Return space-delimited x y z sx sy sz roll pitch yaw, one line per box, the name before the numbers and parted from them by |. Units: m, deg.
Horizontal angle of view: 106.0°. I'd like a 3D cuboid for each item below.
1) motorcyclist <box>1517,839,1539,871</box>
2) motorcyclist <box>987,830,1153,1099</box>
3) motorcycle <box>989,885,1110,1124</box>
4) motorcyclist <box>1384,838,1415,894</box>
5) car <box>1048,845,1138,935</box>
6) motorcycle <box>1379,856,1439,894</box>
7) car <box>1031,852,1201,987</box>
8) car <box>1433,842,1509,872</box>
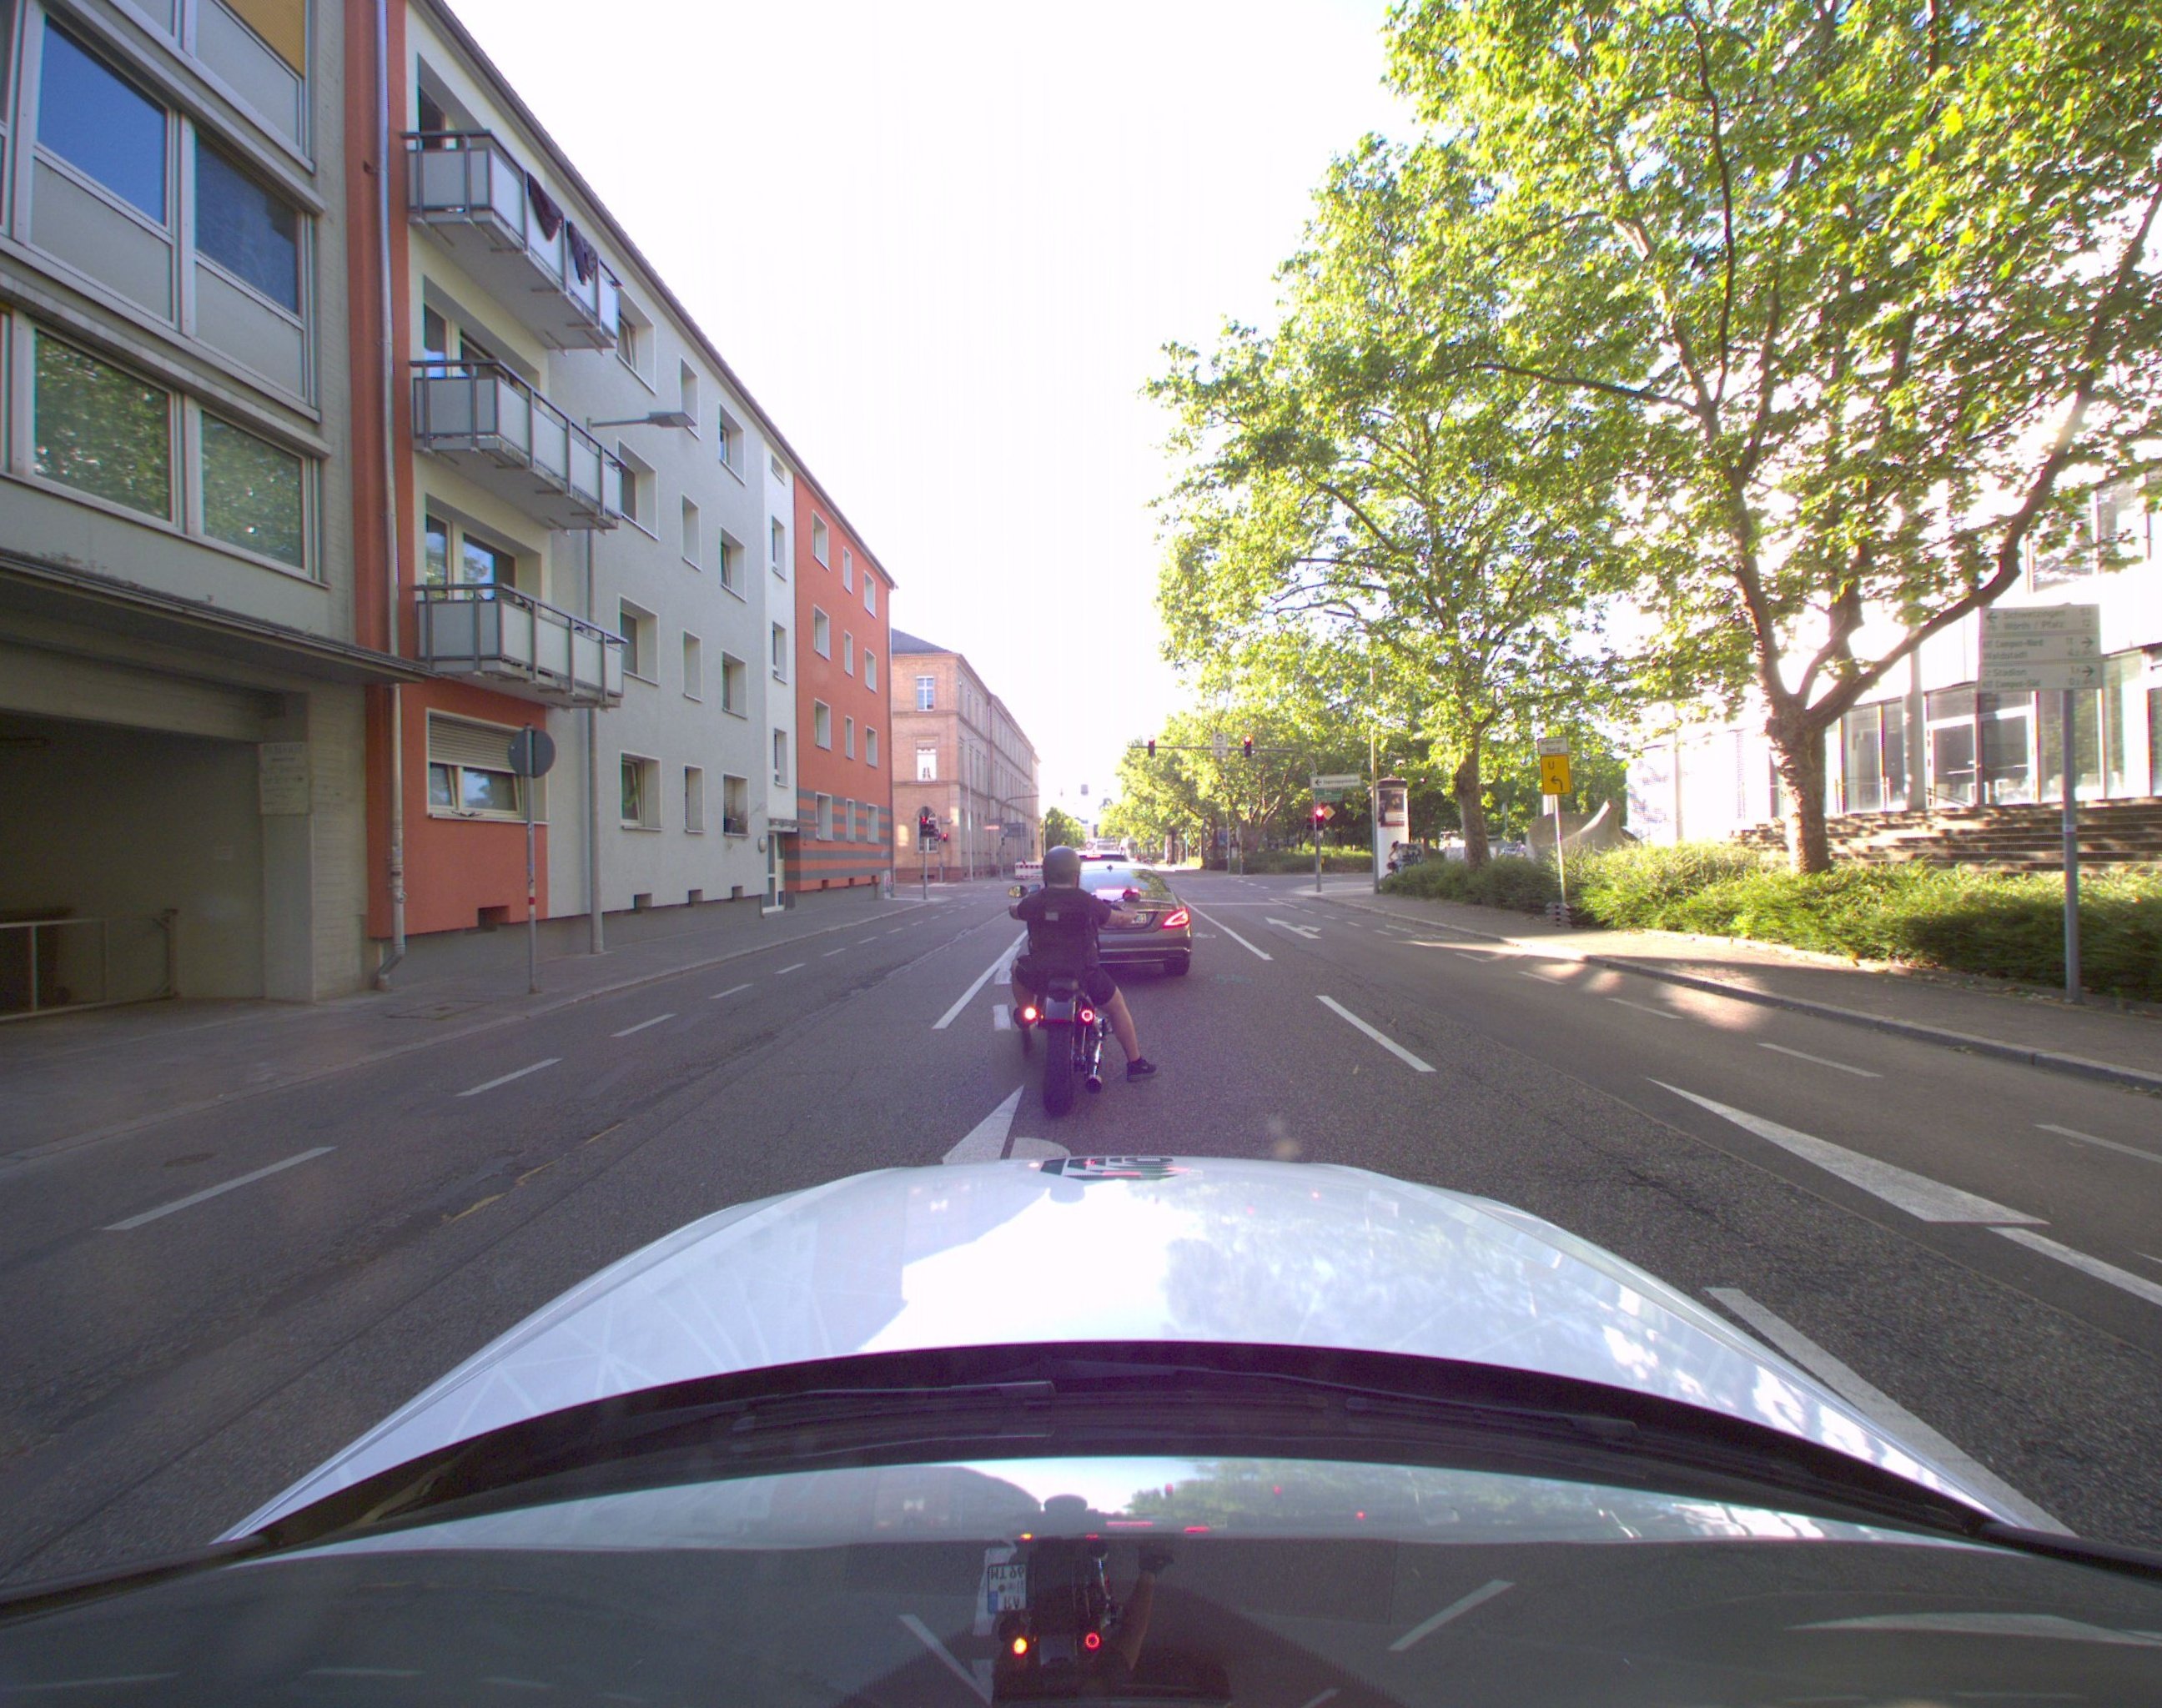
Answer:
motorcyclist | 26.019 0.055 47.395 0.978 1.876 0.377 -1 -1 6
motorcyclist | -0.050 0.671 5.459 0.986 1.611 1.121 0 -1 1
motorcycle | -0.141 0.864 5.489 0.657 1.240 2.058 0 -1 2
motorcyclist | 10.771 0.393 27.578 0.818 1.863 0.673 0 -1 7
car | 0.289 0.689 17.105 1.645 1.652 4.002 0 -1 2
motorcycle | 11.075 0.712 27.554 1.771 1.243 0.724 0 -1 7
car | 0.264 0.745 11.254 1.821 1.486 4.325 0 0 -5
car | 24.634 0.205 51.532 3.974 1.772 1.738 -1 0 -1
